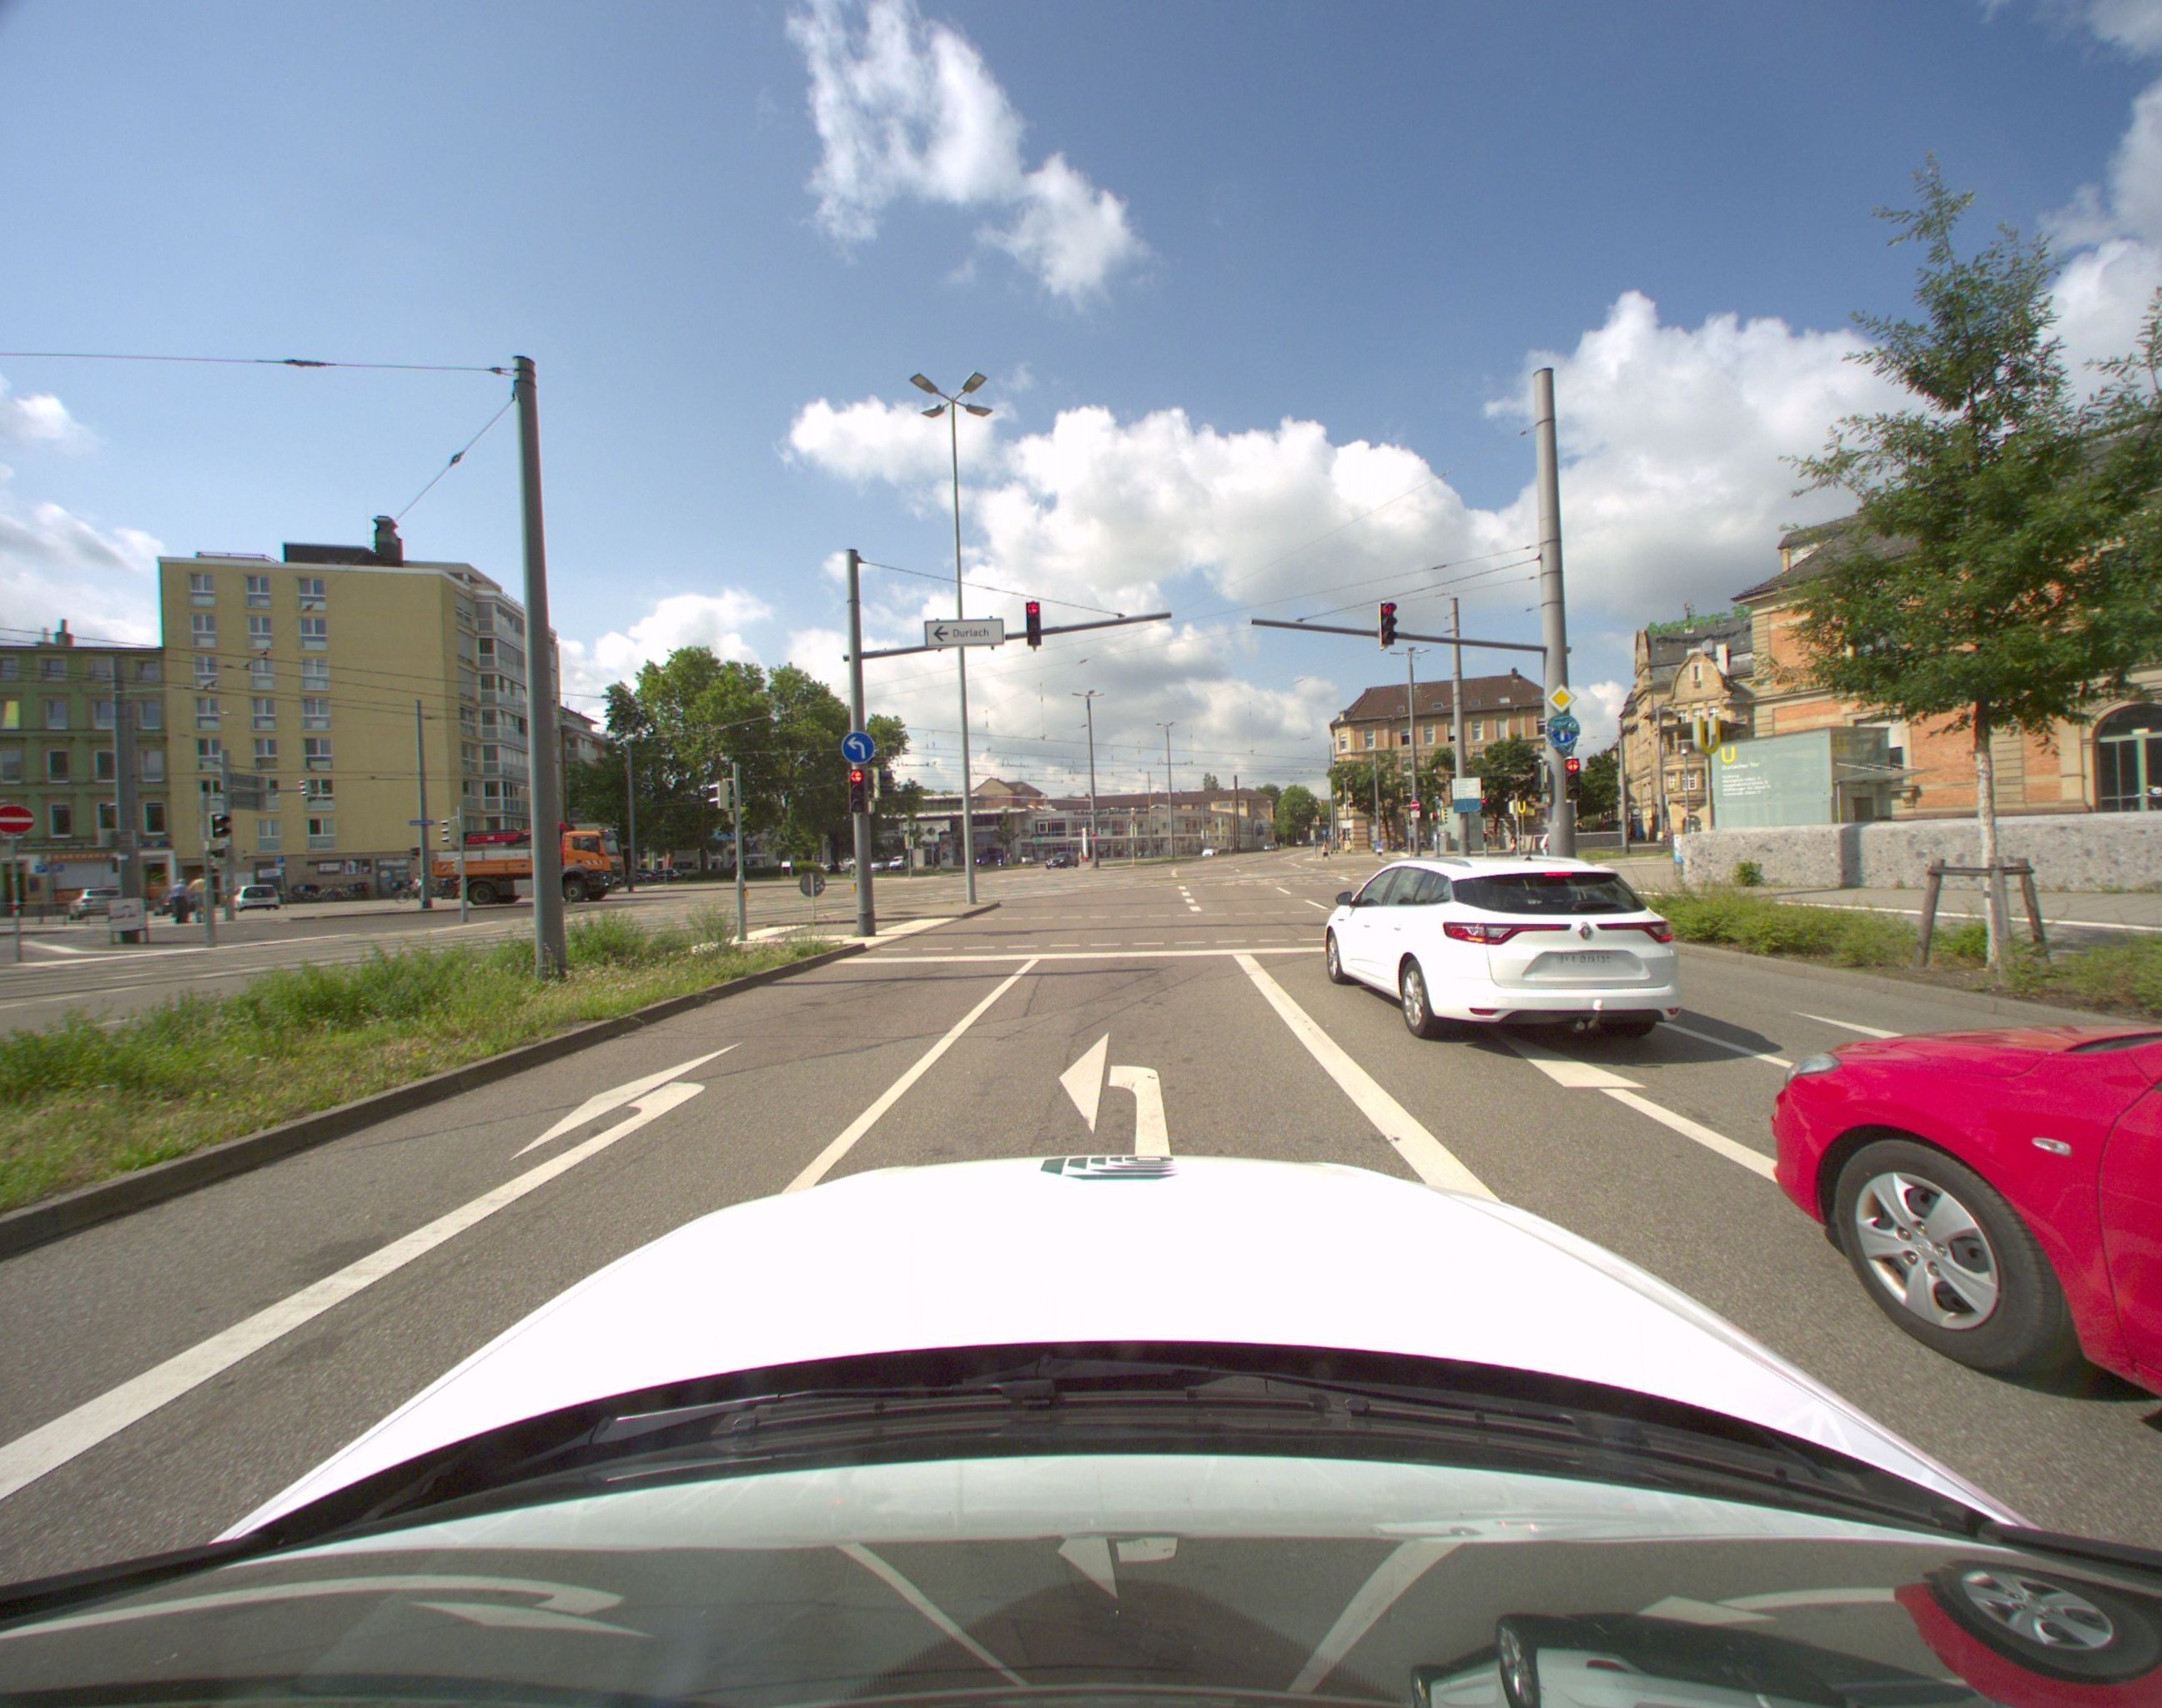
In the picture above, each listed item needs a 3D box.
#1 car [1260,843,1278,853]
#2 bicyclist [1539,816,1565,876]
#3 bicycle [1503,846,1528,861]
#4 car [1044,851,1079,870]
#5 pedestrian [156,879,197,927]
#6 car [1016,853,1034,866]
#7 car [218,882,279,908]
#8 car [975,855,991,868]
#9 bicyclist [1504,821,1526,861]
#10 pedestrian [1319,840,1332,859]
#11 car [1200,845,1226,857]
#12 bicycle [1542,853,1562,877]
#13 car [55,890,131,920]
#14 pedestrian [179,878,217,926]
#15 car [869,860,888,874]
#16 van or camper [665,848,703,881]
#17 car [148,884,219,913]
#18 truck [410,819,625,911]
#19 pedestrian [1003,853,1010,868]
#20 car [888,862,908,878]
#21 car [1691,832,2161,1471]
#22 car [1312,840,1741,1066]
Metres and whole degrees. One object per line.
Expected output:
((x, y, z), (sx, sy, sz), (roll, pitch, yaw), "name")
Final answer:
((31.915, -1.025, 138.360), (1.975, 1.574, 4.024), (-2, 0, 26), "car")
((16.399, -0.273, 28.330), (0.692, 2.013, 0.793), (-2, 0, 32), "bicyclist")
((22.513, -0.019, 42.232), (0.526, 0.743, 1.768), (-2, 0, 6), "bicycle")
((-1.684, 0.566, 72.729), (1.978, 1.530, 4.017), (-2, 0, 16), "car")
((-36.551, 1.968, 32.918), (0.696, 1.860, 0.819), (-2, 0, 1), "pedestrian")
((-7.584, 0.753, 110.583), (1.993, 1.596, 3.987), (-2, 0, -9), "car")
((-47.770, 2.340, 46.723), (3.629, 1.350, 1.708), (-2, 0, 32), "car")
((-13.121, 0.976, 109.503), (1.990, 1.552, 4.071), (-2, 0, -5), "car")
((22.520, -0.671, 42.274), (0.695, 2.013, 0.790), (-2, 0, 7), "bicyclist")
((20.233, -0.354, 67.426), (0.678, 1.535, 0.666), (-2, 0, -38), "pedestrian")
((18.896, -0.428, 116.528), (1.974, 1.442, 4.026), (-2, 0, 36), "car")
((16.370, 0.369, 28.292), (0.523, 0.743, 1.776), (-2, 0, 32), "bicycle")
((-53.397, 2.751, 44.015), (3.631, 1.501, 1.707), (-2, 0, 25), "car")
((-35.757, 1.936, 32.987), (0.648, 1.868, 0.782), (-2, 0, 2), "pedestrian")
((-27.575, 1.742, 111.121), (1.794, 1.769, 3.994), (-2, 0, -4), "car")
((-37.931, 0.998, 77.978), (2.591, 2.908, 6.056), (-2, 0, -21), "van or camper")
((-49.625, 2.428, 45.020), (3.954, 1.436, 1.883), (-2, 0, 32), "car")
((-26.186, 0.473, 38.192), (7.918, 3.856, 2.192), (-2, 0, -12), "truck")
((-9.811, 0.836, 107.220), (0.882, 1.948, 0.885), (-2, 0, -10), "pedestrian")
((-24.841, 2.116, 110.706), (1.990, 2.013, 3.994), (-2, 0, -4), "car")
((3.333, 0.679, 1.275), (1.809, 1.439, 4.068), (1, -1, 1), "car")
((3.589, 0.660, 7.624), (1.840, 1.472, 4.339), (-2, 0, 4), "car")
